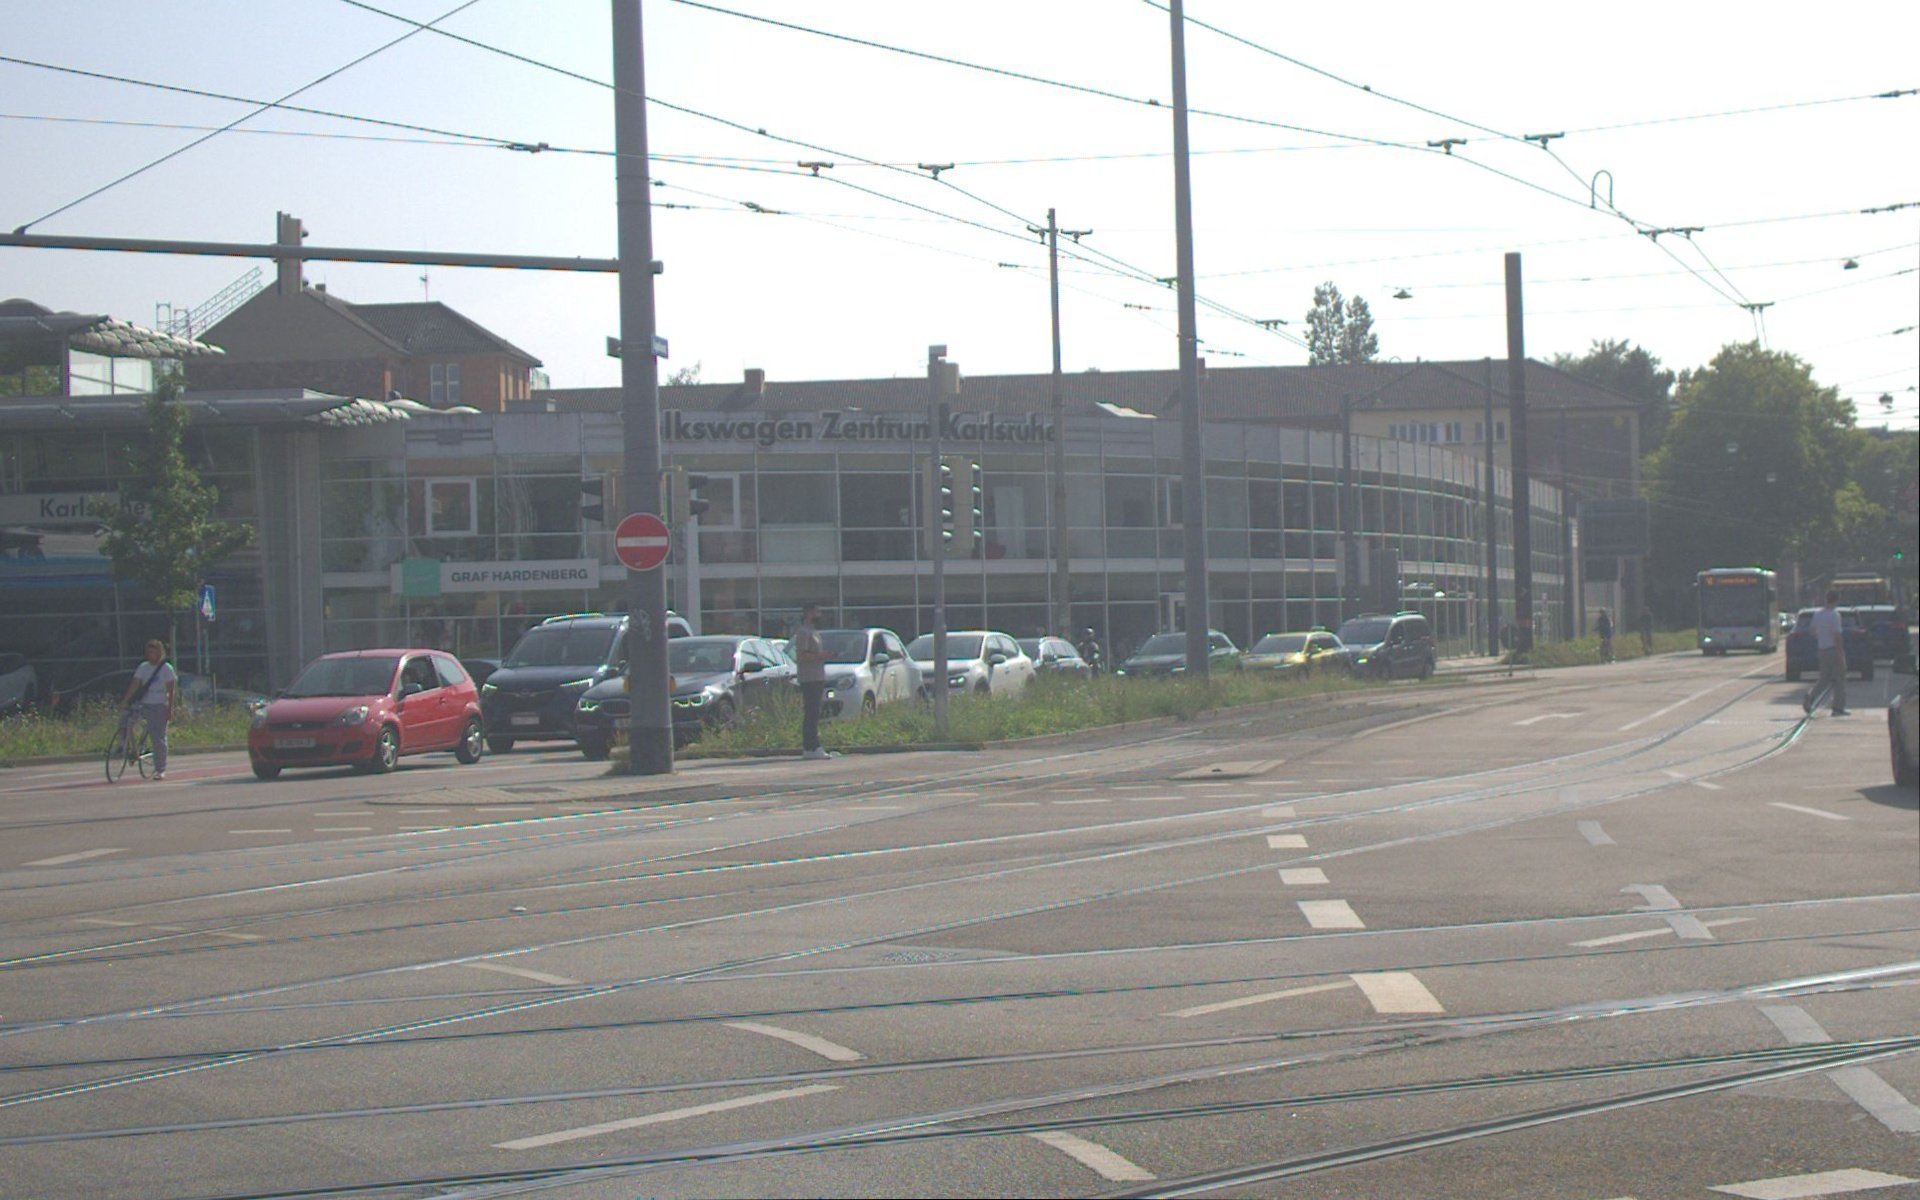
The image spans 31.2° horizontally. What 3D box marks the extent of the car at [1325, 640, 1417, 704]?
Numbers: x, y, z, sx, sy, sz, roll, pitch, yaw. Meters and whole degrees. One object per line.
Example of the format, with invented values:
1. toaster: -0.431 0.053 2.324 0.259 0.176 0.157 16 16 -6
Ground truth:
1. car: 10.395 1.802 86.753 1.615 1.471 3.997 -3 -1 16

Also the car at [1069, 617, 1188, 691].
1. car: 3.647 1.142 73.847 1.615 1.471 3.997 -3 -1 16

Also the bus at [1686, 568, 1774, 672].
1. bus: 28.767 0.766 128.970 2.922 3.607 16.737 -1 -1 12

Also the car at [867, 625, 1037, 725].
1. car: -0.090 1.174 55.035 1.615 1.471 3.997 -3 -1 16

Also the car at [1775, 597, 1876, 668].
1. car: 18.430 0.675 73.134 1.827 1.423 4.408 -2 0 17

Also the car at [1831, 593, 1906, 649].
1. car: 24.033 0.541 91.058 1.826 1.423 4.409 -2 0 14

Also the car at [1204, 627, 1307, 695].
1. car: 6.973 1.412 80.941 1.615 1.471 3.997 -3 -1 16

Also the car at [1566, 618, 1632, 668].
1. car: 20.375 1.365 109.559 1.615 1.471 3.997 -3 -1 16

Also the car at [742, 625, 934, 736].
1. car: -1.721 1.142 49.844 1.615 1.471 3.997 -3 -1 15

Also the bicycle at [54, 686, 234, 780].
1. bicycle: -9.871 1.594 41.708 0.958 1.053 2.606 -1 -1 16

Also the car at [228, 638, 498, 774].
1. car: -7.122 1.244 41.407 1.615 1.471 3.997 -3 -1 15

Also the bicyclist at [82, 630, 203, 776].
1. bicyclist: -9.893 1.239 41.649 0.958 1.743 1.165 -1 -1 16

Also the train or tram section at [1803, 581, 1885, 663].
1. train or tram section: 41.657 1.015 162.332 2.655 3.687 10.585 -2 0 9

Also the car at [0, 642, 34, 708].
1. car: -23.212 1.766 80.518 1.700 1.517 4.098 -1 -1 4

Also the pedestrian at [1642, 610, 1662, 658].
1. pedestrian: 23.873 1.177 118.617 0.595 1.625 0.636 -1 -1 17

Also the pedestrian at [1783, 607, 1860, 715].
1. pedestrian: 12.122 0.854 48.404 0.777 1.498 0.710 -1 -1 -14

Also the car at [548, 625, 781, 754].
1. car: -3.682 1.098 43.453 1.615 1.471 3.997 -3 -1 15

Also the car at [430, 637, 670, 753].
1. car: -5.729 1.311 48.478 1.962 1.471 3.997 -3 -1 15
